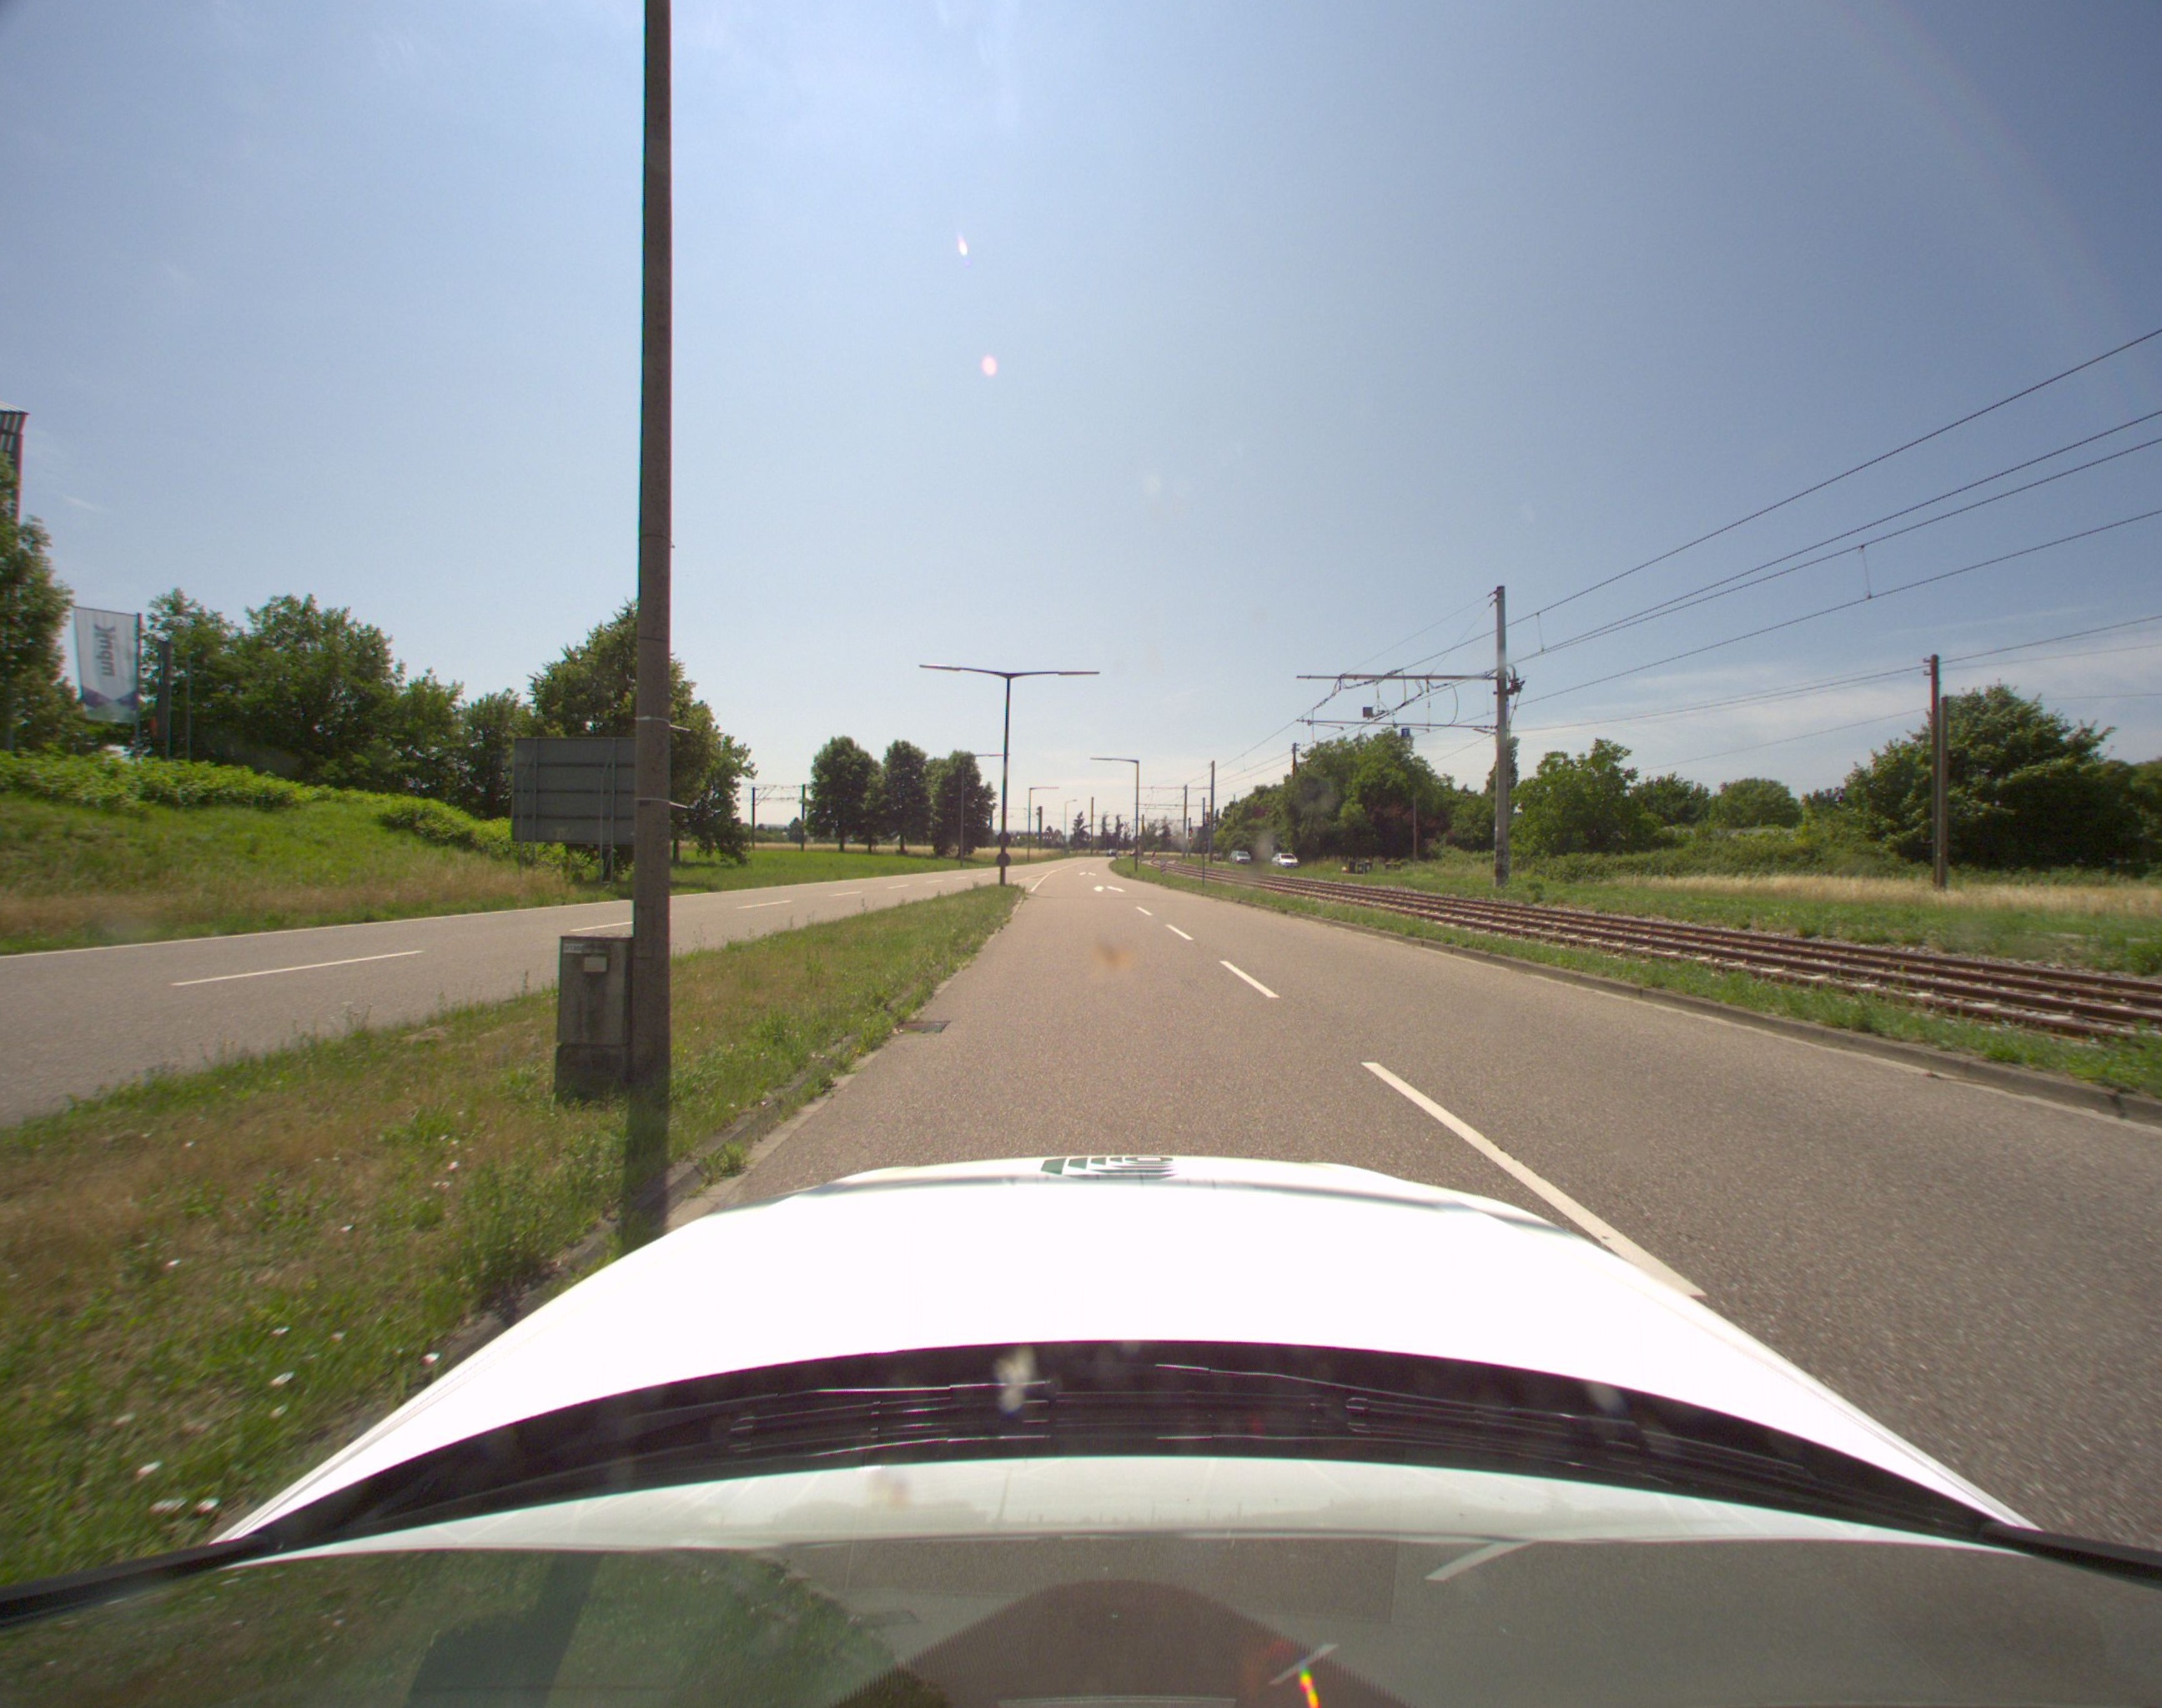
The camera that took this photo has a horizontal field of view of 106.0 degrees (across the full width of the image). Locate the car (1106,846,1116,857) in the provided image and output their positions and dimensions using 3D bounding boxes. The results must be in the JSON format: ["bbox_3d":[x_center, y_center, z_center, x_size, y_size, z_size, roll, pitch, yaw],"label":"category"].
[{"bbox_3d":[5.505,-0.457,148.343,1.395,1.771,3.263,2,0,11],"label":"car"}]

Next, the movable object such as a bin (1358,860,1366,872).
[{"bbox_3d":[22.155,0.946,64.156,0.521,0.864,0.501,0,0,11],"label":"movable object such as a bin"}]

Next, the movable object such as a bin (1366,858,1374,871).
[{"bbox_3d":[22.695,0.823,63.992,0.521,1.050,0.501,0,0,11],"label":"movable object such as a bin"}]

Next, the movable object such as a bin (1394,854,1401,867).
[{"bbox_3d":[24.631,0.518,63.382,0.445,1.050,0.501,0,0,12],"label":"movable object such as a bin"}]

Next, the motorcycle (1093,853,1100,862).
[{"bbox_3d":[2.872,0.684,150.116,0.984,1.580,3.407,2,0,7],"label":"motorcycle"}]

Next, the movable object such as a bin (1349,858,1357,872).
[{"bbox_3d":[21.488,0.865,64.295,0.521,1.050,0.501,0,0,11],"label":"movable object such as a bin"}]

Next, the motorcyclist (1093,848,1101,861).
[{"bbox_3d":[2.903,0.110,149.995,1.224,2.351,1.108,2,-1,6],"label":"motorcyclist"}]

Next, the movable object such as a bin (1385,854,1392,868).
[{"bbox_3d":[24.022,0.532,63.548,0.445,1.050,0.501,0,0,12],"label":"movable object such as a bin"}]

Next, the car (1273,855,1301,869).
[{"bbox_3d":[18.017,0.647,71.184,1.558,1.179,3.077,0,0,-2],"label":"car"}]

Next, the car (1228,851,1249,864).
[{"bbox_3d":[18.317,0.379,94.688,1.666,1.397,3.649,3,0,0],"label":"car"}]
